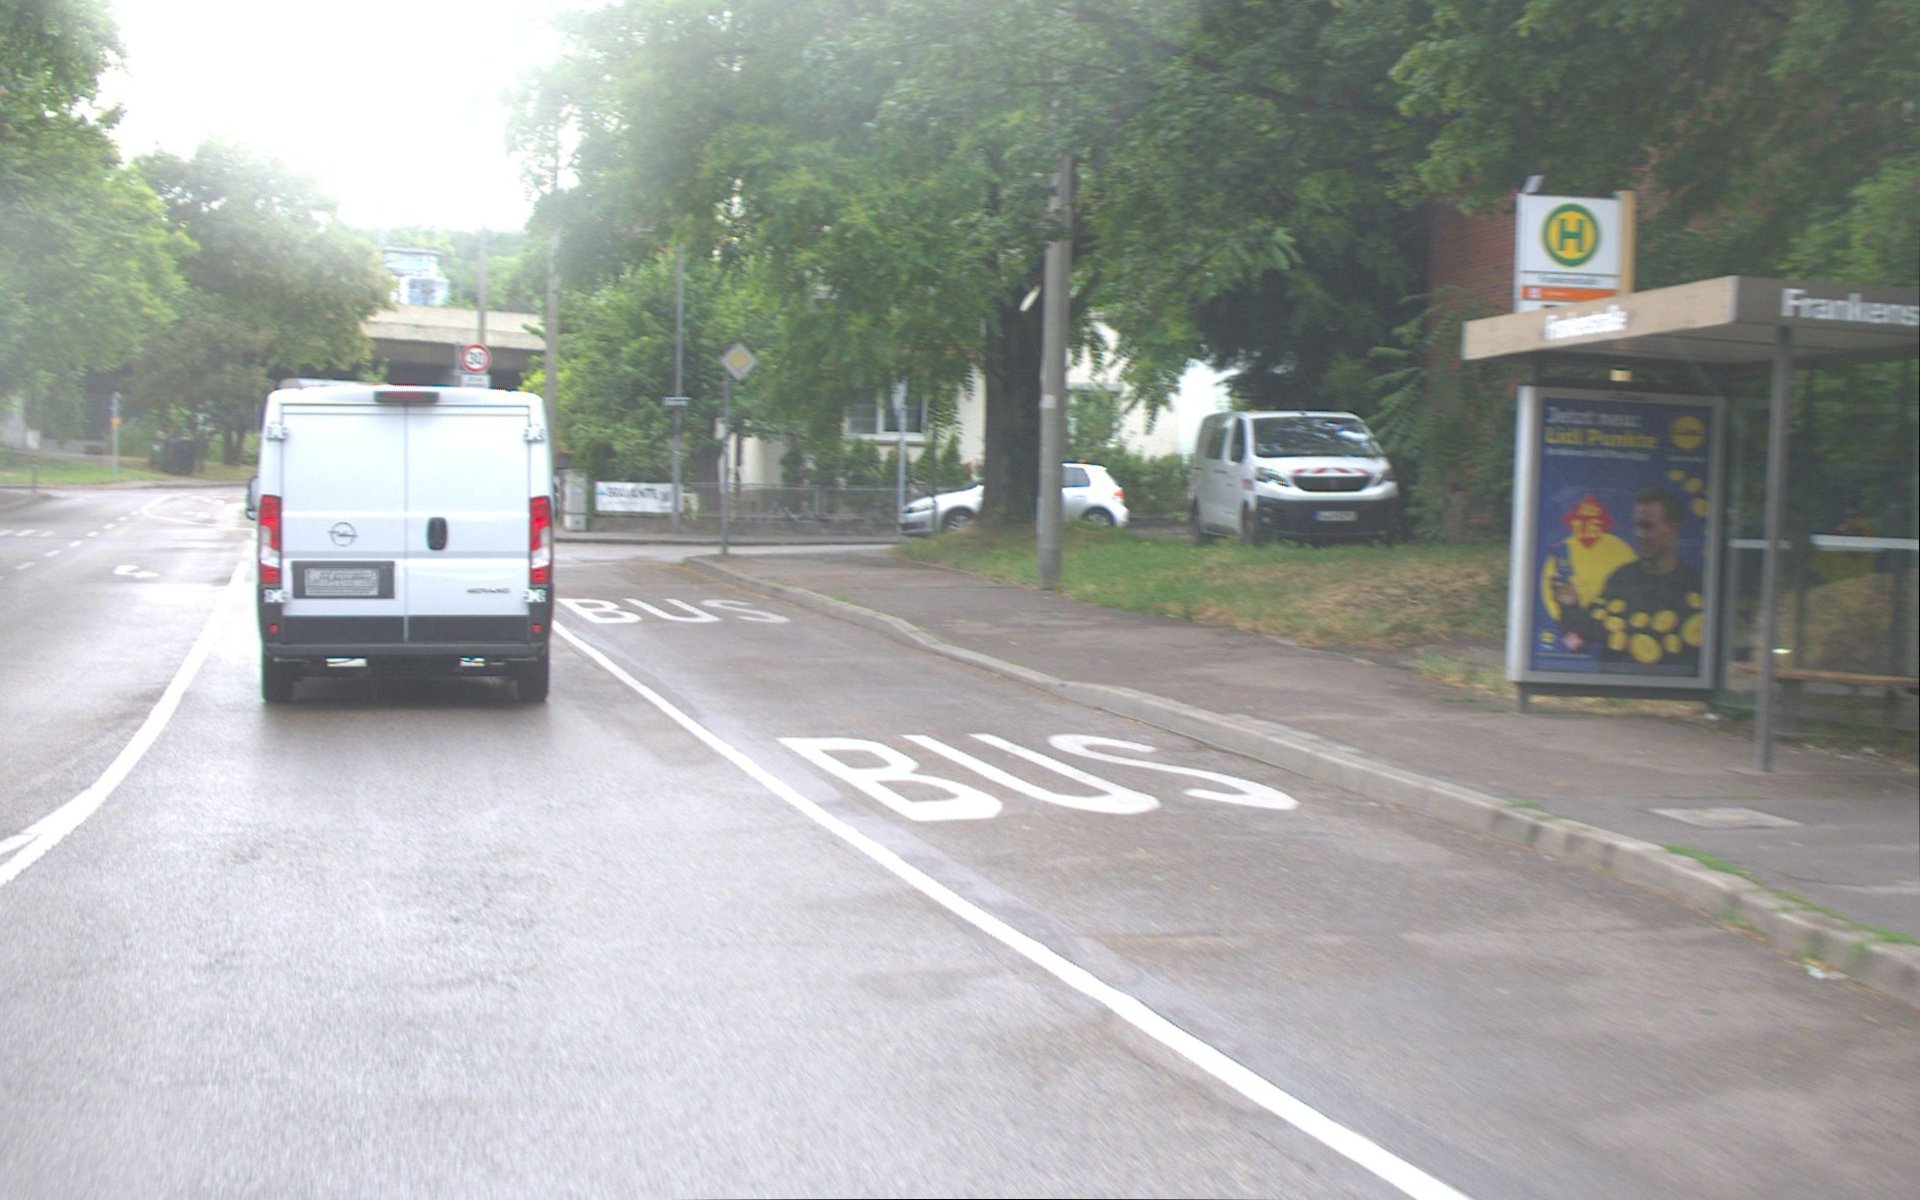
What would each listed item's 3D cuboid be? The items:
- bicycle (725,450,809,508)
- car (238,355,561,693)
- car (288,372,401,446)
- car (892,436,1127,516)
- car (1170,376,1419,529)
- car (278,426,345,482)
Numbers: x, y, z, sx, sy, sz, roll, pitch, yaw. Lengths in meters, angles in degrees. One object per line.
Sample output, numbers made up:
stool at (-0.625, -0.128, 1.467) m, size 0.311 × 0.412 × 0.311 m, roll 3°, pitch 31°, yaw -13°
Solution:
bicycle at (-3.708, -2.324, 65.983) m, size 1.570 × 1.111 × 0.457 m, roll 0°, pitch 3°, yaw -7°
car at (-4.179, -0.593, 25.771) m, size 2.146 × 2.275 × 5.064 m, roll 0°, pitch 2°, yaw -9°
car at (-26.185, -8.108, 146.530) m, size 2.535 × 3.007 × 7.209 m, roll 2°, pitch 3°, yaw 8°
car at (0.894, -2.263, 62.918) m, size 3.986 × 1.418 × 1.705 m, roll -1°, pitch 1°, yaw -13°
car at (4.281, -1.941, 44.882) m, size 1.993 × 1.798 × 5.149 m, roll 2°, pitch 3°, yaw -8°
car at (-18.794, -4.252, 99.771) m, size 1.836 × 1.528 × 4.205 m, roll 1°, pitch 3°, yaw -10°
